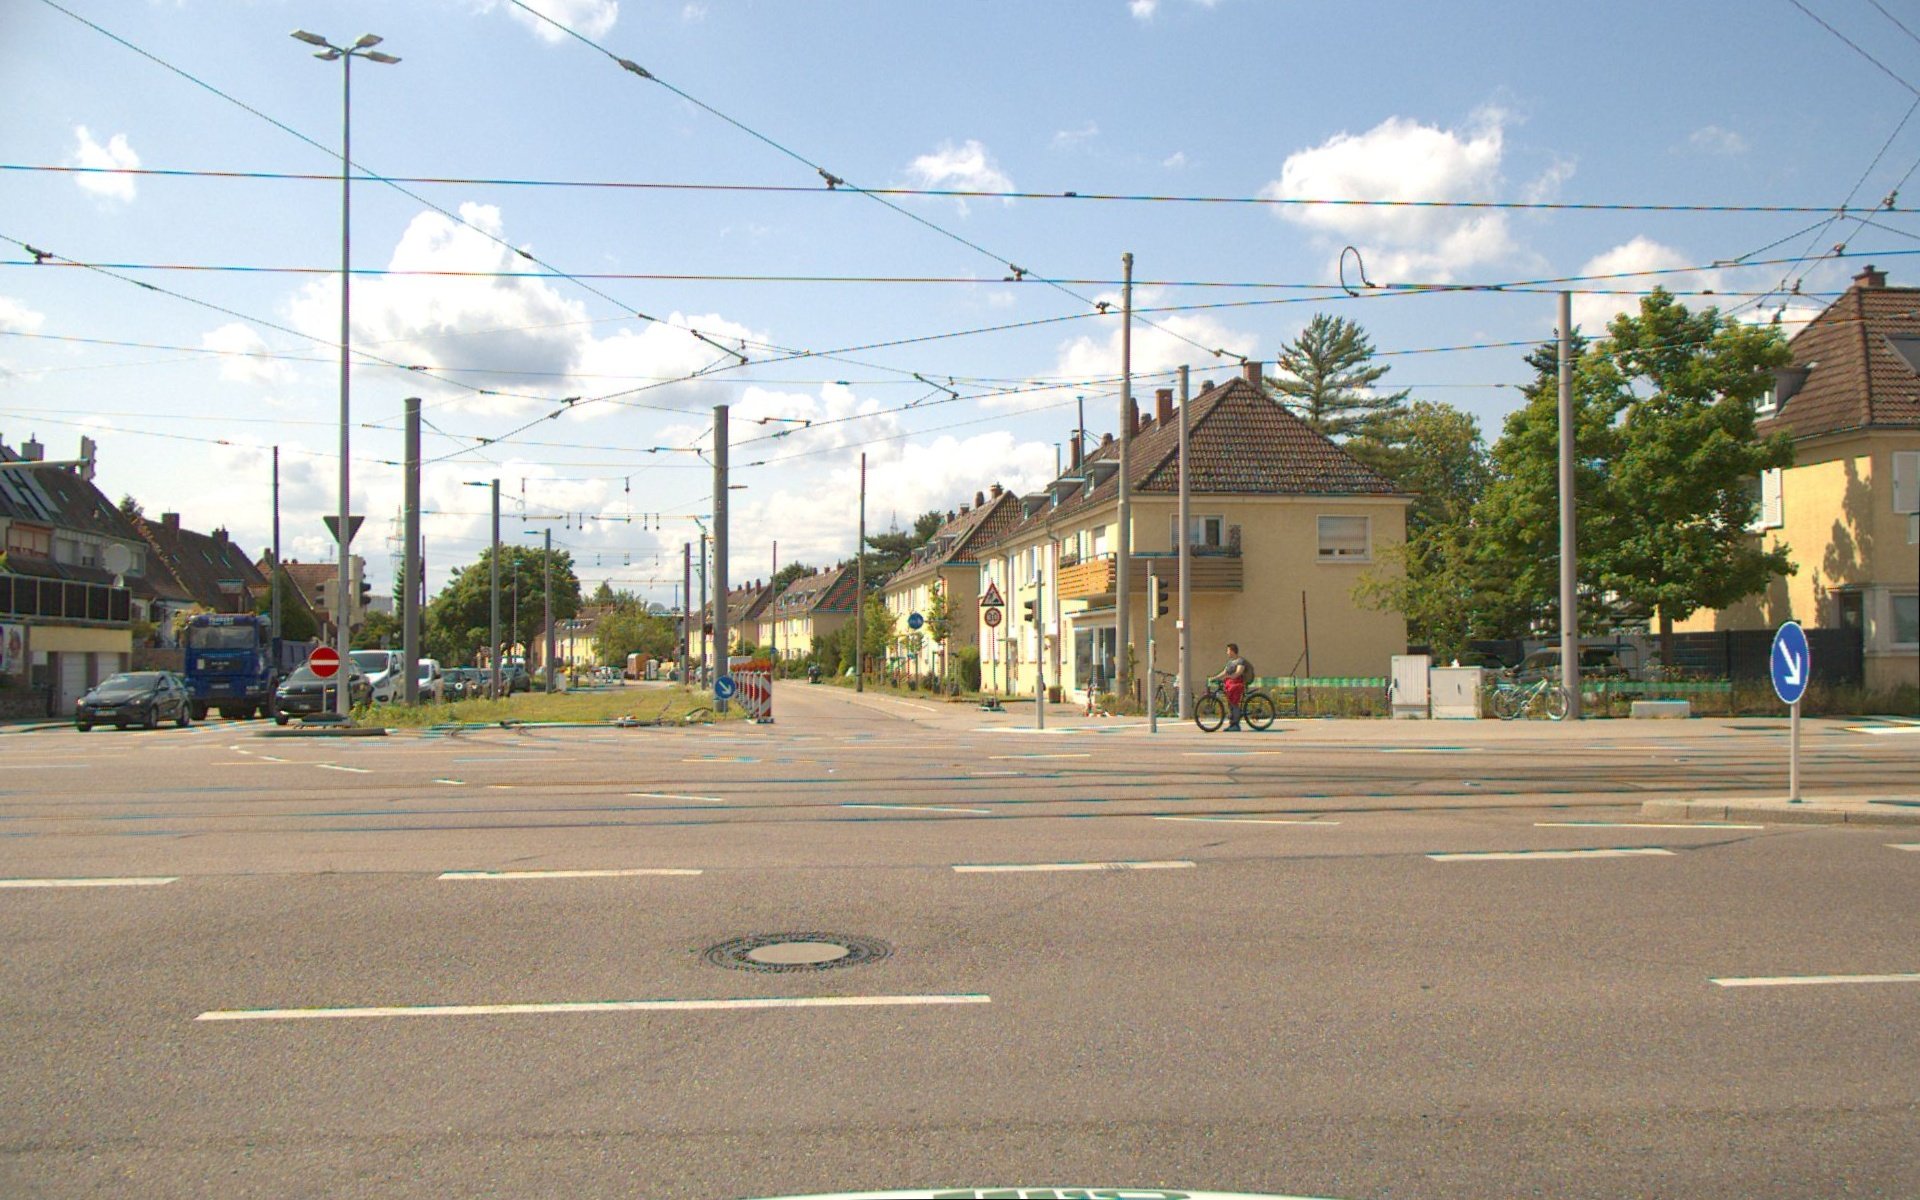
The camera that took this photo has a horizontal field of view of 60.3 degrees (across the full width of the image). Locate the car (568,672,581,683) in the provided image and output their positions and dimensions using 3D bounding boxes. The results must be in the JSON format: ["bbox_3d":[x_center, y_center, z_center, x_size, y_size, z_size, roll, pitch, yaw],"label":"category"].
[{"bbox_3d":[-54.130,10.894,232.135,1.243,1.452,2.641,0,-3,-28],"label":"car"}]

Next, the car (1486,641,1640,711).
[{"bbox_3d":[15.215,1.954,41.977,1.790,1.649,3.986,0,-3,-12],"label":"car"}]

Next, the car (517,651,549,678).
[{"bbox_3d":[-39.147,5.881,151.615,2.371,2.412,4.850,0,-2,-20],"label":"car"}]

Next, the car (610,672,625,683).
[{"bbox_3d":[-44.226,9.984,213.576,1.242,1.452,2.642,0,-3,-26],"label":"car"}]

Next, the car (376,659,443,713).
[{"bbox_3d":[-19.545,3.049,58.847,1.702,1.813,4.392,0,-2,-11],"label":"car"}]

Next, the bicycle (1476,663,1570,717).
[{"bbox_3d":[12.084,1.917,35.513,1.772,1.124,0.699,-2,-3,36],"label":"bicycle"}]

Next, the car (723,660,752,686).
[{"bbox_3d":[-19.175,6.253,142.298,2.029,2.187,4.862,0,-2,-12],"label":"car"}]

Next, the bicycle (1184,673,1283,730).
[{"bbox_3d":[5.617,2.068,33.945,2.005,1.121,0.708,1,-3,-30],"label":"bicycle"}]

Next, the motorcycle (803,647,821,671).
[{"bbox_3d":[-10.553,4.191,117.719,1.047,1.664,2.078,0,-2,-11],"label":"motorcycle"}]

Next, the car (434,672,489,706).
[{"bbox_3d":[-21.748,3.864,72.281,1.810,1.438,4.902,0,-2,-11],"label":"car"}]

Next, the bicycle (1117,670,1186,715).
[{"bbox_3d":[4.866,2.354,42.197,0.586,1.116,2.255,1,-3,-28],"label":"bicycle"}]

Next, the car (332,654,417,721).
[{"bbox_3d":[-18.018,2.674,51.063,1.782,1.956,4.734,0,-2,-11],"label":"car"}]

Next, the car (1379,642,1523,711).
[{"bbox_3d":[12.442,1.989,42.186,1.790,1.649,3.986,0,-3,-12],"label":"car"}]

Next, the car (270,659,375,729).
[{"bbox_3d":[-17.153,2.485,44.693,1.753,1.751,4.430,0,-2,-9],"label":"car"}]

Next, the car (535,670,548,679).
[{"bbox_3d":[-62.326,11.119,246.494,1.244,1.374,2.639,1,-3,-29],"label":"car"}]

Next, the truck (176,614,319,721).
[{"bbox_3d":[-23.294,2.233,54.497,2.719,3.245,7.561,0,-3,-11],"label":"truck"}]

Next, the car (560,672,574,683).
[{"bbox_3d":[-56.088,11.091,236.187,1.244,1.452,2.639,1,-3,-29],"label":"car"}]

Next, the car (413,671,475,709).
[{"bbox_3d":[-20.332,3.531,65.290,1.880,1.444,3.989,0,-2,-11],"label":"car"}]

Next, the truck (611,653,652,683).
[{"bbox_3d":[-40.045,8.269,201.410,2.608,3.556,9.356,0,-3,-26],"label":"truck"}]

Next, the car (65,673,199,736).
[{"bbox_3d":[-21.411,2.671,42.968,1.793,1.513,4.325,0,-2,-8],"label":"car"}]

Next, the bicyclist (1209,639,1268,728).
[{"bbox_3d":[5.726,1.705,34.026,0.946,1.806,0.712,1,-3,-29],"label":"bicyclist"}]
